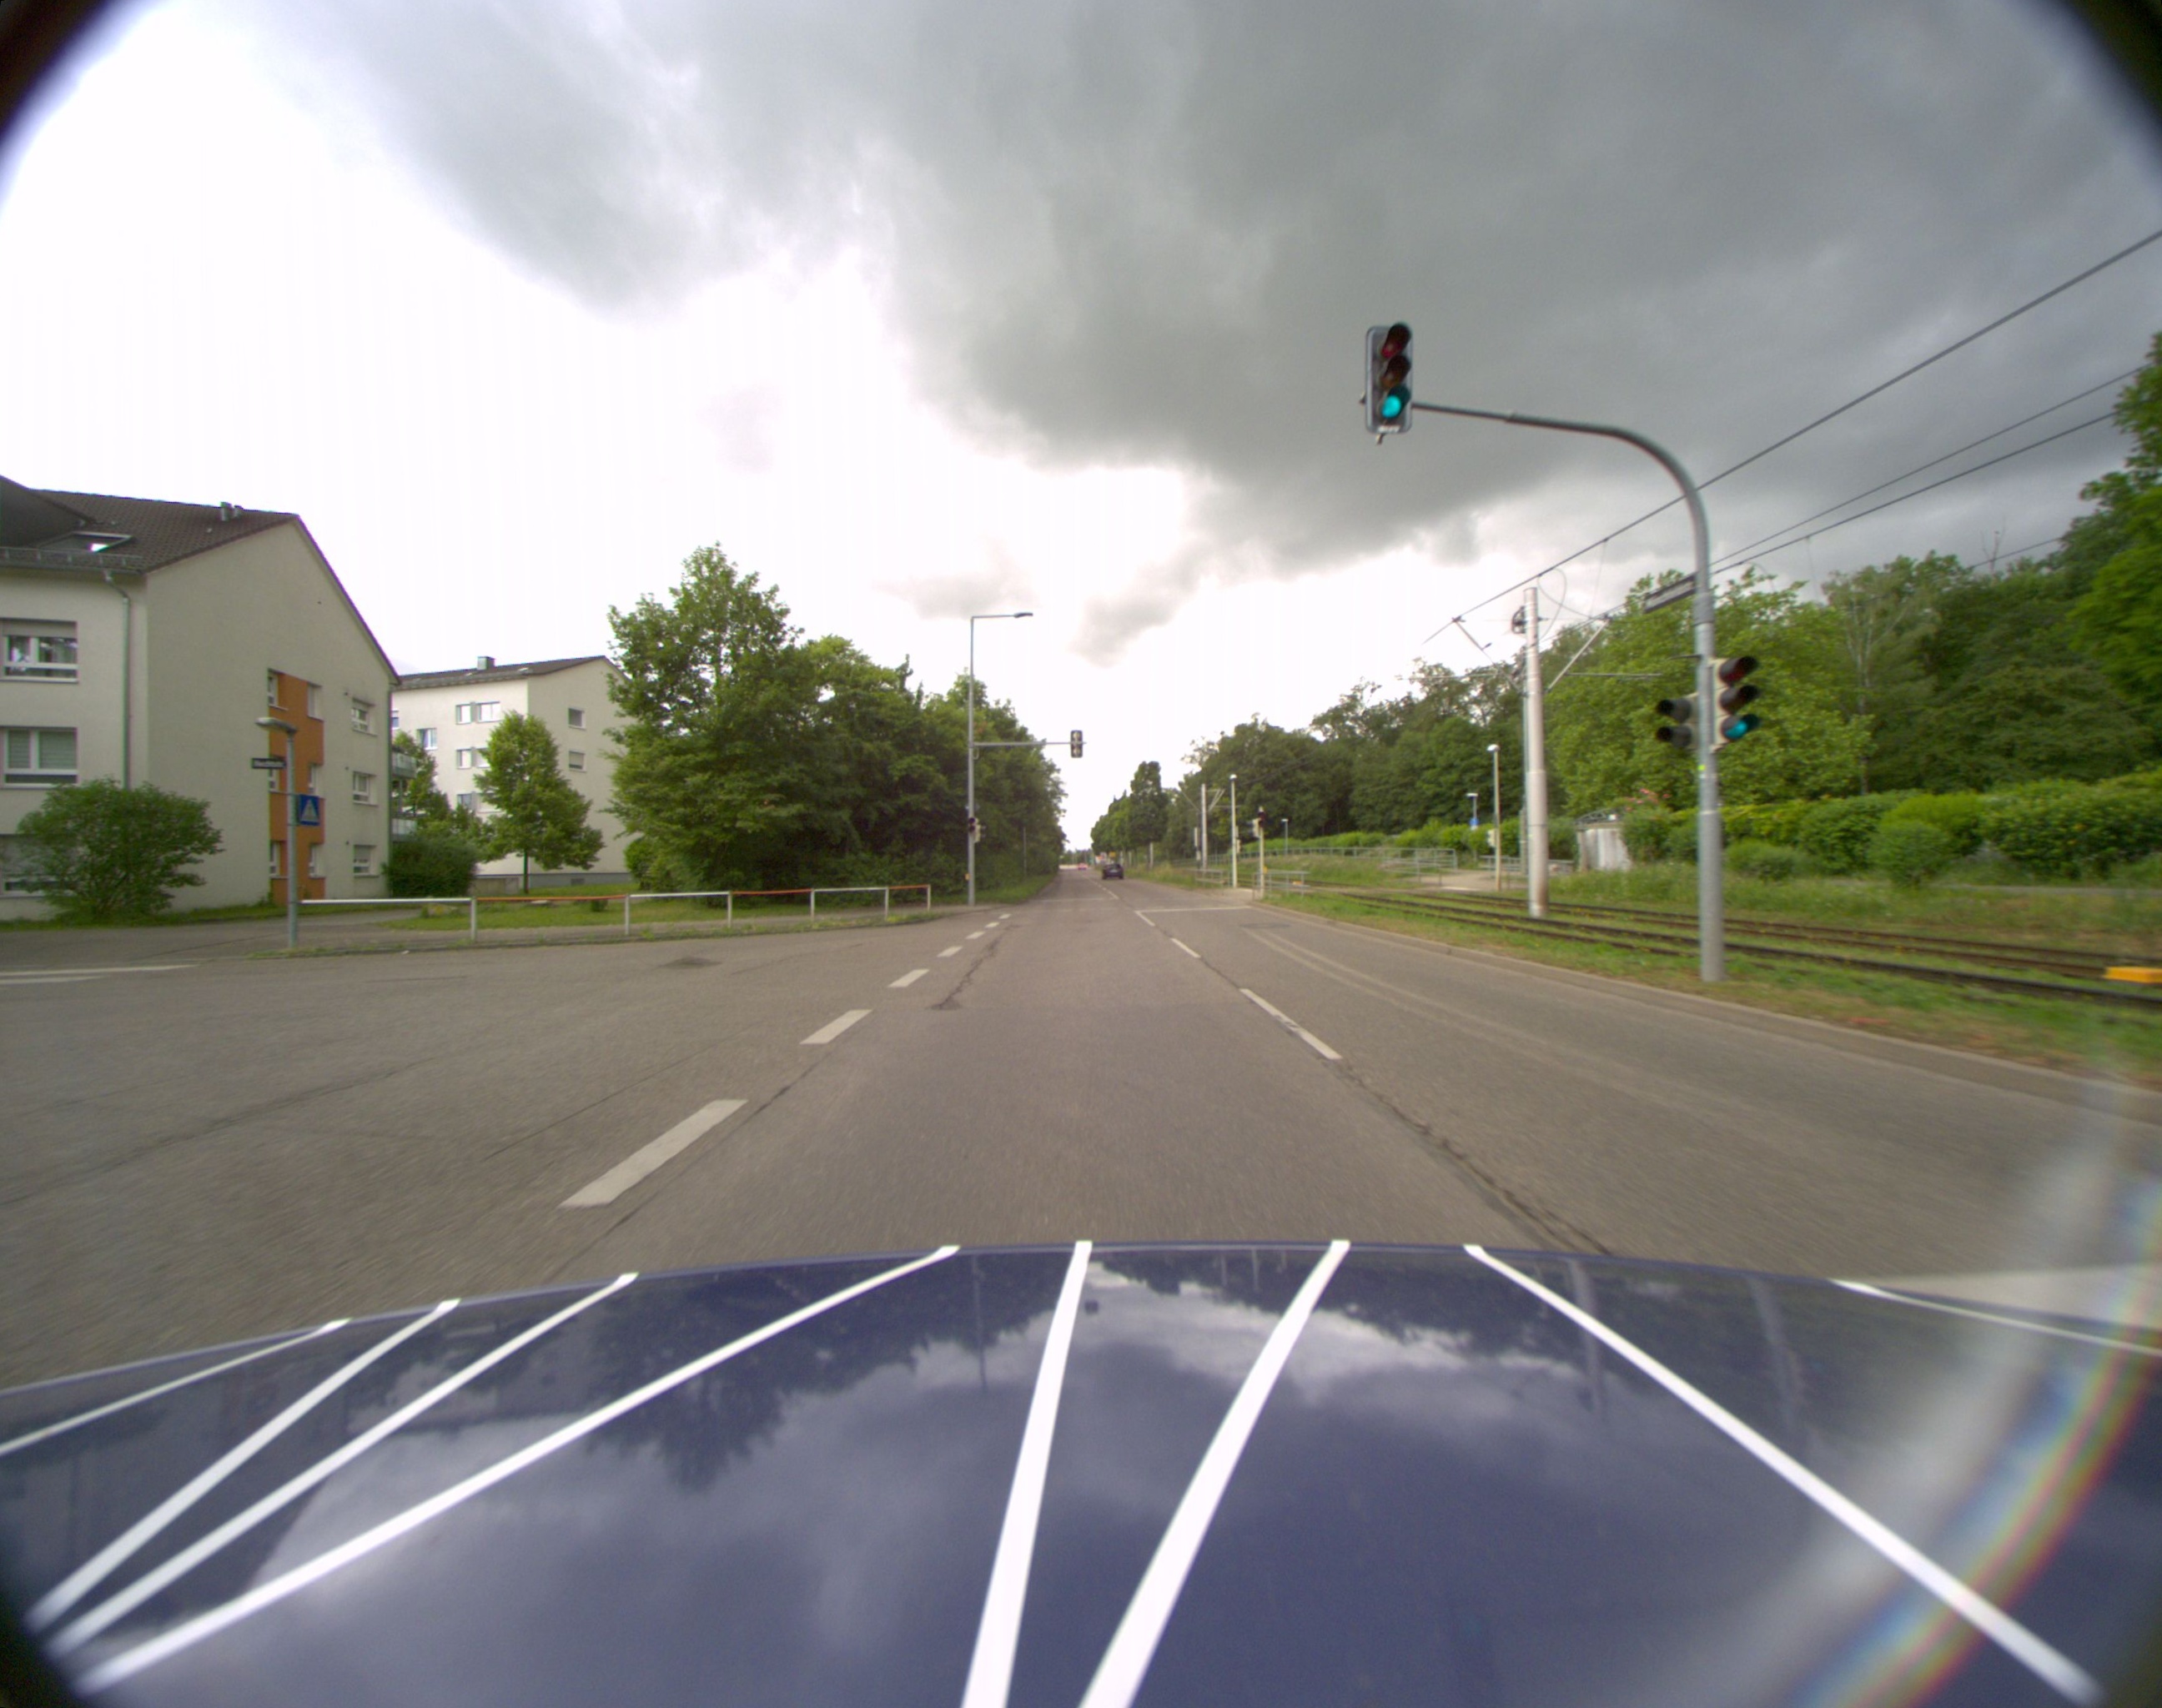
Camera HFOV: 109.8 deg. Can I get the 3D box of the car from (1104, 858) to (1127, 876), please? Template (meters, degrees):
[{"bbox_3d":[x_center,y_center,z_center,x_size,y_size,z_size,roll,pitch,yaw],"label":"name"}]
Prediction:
[{"bbox_3d":[3.051,1.150,67.851,1.855,1.461,4.256,-2,0,0],"label":"car"}]
